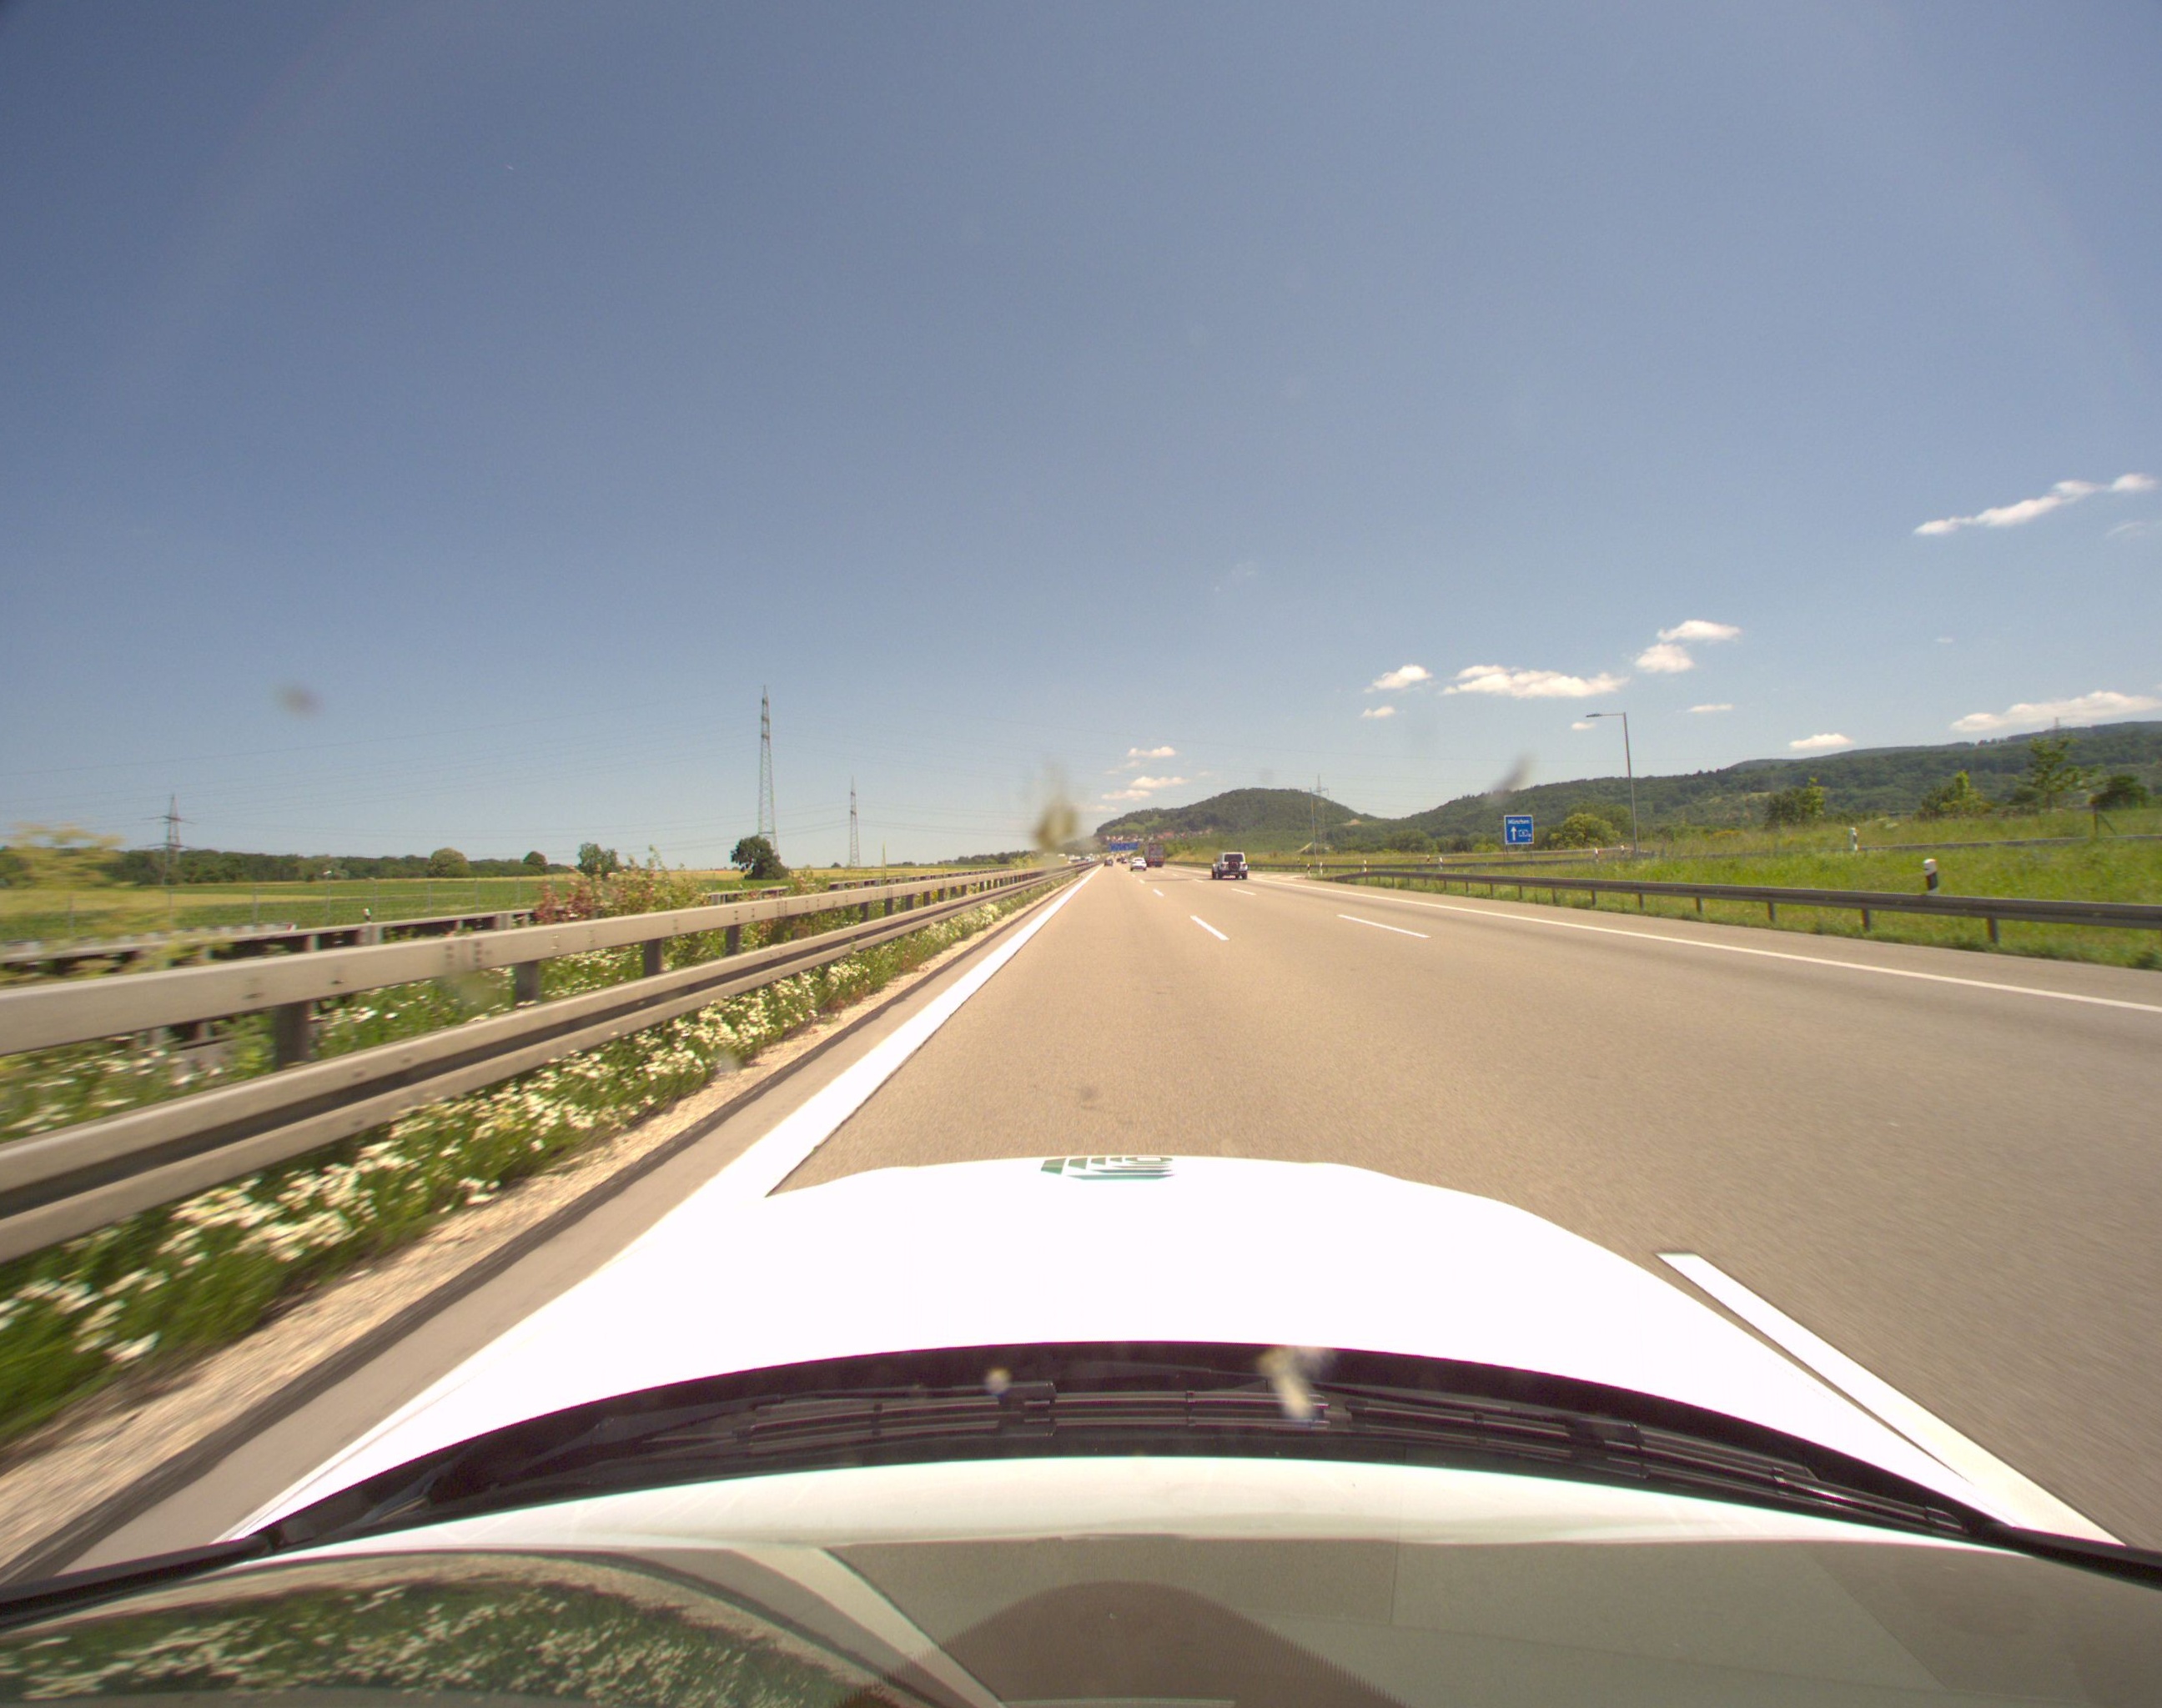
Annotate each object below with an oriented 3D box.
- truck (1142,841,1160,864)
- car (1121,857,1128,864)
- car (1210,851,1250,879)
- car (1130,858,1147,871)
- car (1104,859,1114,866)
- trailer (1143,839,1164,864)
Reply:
[{"bbox_3d":[12.549,-0.245,147.340,2.743,4.021,6.788,0,-1,1],"label":"truck"},{"bbox_3d":[12.846,1.856,241.470,1.985,2.014,4.002,0,-1,3],"label":"car"},{"bbox_3d":[10.168,0.746,55.931,2.027,1.804,4.251,-1,0,1],"label":"car"},{"bbox_3d":[7.094,1.313,100.494,1.907,1.581,5.232,0,-1,2],"label":"car"},{"bbox_3d":[5.548,1.718,162.457,1.985,1.389,4.002,0,-1,3],"label":"car"},{"bbox_3d":[12.434,-0.351,140.701,2.715,4.155,11.809,0,-1,1],"label":"trailer"}]
